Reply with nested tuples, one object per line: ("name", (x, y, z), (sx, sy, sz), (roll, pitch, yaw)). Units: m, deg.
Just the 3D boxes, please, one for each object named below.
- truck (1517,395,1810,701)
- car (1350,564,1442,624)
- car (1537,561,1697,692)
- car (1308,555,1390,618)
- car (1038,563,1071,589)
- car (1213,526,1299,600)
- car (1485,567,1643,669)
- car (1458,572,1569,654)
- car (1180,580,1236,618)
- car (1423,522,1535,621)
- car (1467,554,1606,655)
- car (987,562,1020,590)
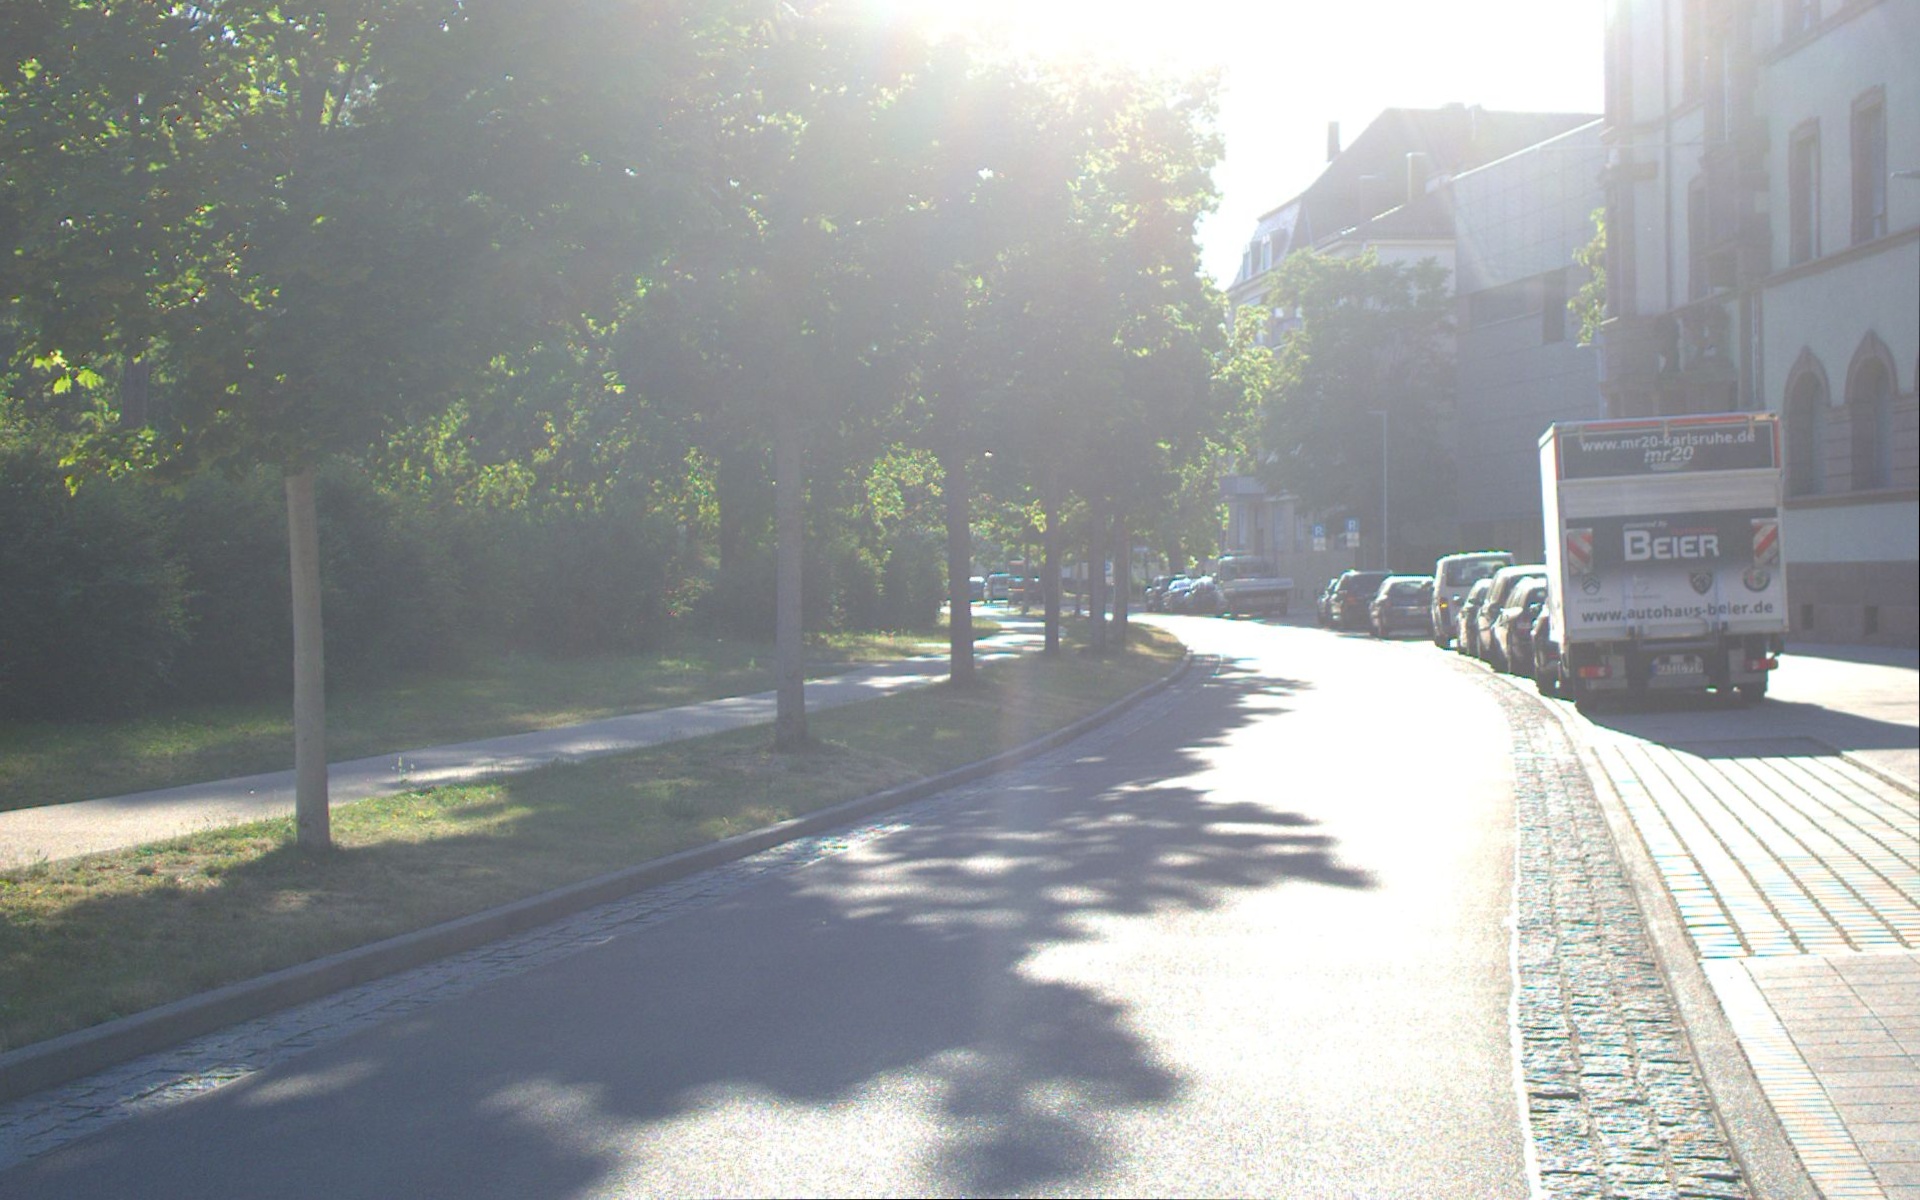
("truck", (7.730, -0.605, 38.430), (2.624, 3.110, 6.086), (-1, 1, 6))
("car", (10.916, -0.170, 86.259), (1.747, 1.461, 4.477), (0, 1, 0))
("car", (8.365, 0.300, 44.074), (1.769, 1.525, 4.570), (-2, 0, 8))
("car", (10.909, -0.395, 96.733), (1.724, 1.663, 4.114), (-2, 1, -1))
("car", (5.498, -1.420, 200.852), (1.793, 1.505, 4.000), (0, 1, 0))
("car", (10.762, -1.348, 125.476), (2.211, 2.521, 6.148), (-3, 1, -3))
("car", (9.267, 0.248, 53.055), (1.872, 1.431, 4.522), (-2, 0, 4))
("car", (10.276, 0.215, 64.056), (1.679, 1.398, 4.199), (-2, 0, 5))
("car", (9.861, -0.060, 136.903), (1.690, 1.435, 3.551), (-1, 1, -5))
("car", (11.182, -0.603, 74.346), (1.994, 1.959, 4.848), (-4, 0, 6))
("car", (9.764, 0.059, 58.516), (1.816, 1.597, 4.192), (-2, 0, 3))
("car", (2.714, -1.483, 215.037), (1.793, 1.718, 4.000), (0, 1, -3))
